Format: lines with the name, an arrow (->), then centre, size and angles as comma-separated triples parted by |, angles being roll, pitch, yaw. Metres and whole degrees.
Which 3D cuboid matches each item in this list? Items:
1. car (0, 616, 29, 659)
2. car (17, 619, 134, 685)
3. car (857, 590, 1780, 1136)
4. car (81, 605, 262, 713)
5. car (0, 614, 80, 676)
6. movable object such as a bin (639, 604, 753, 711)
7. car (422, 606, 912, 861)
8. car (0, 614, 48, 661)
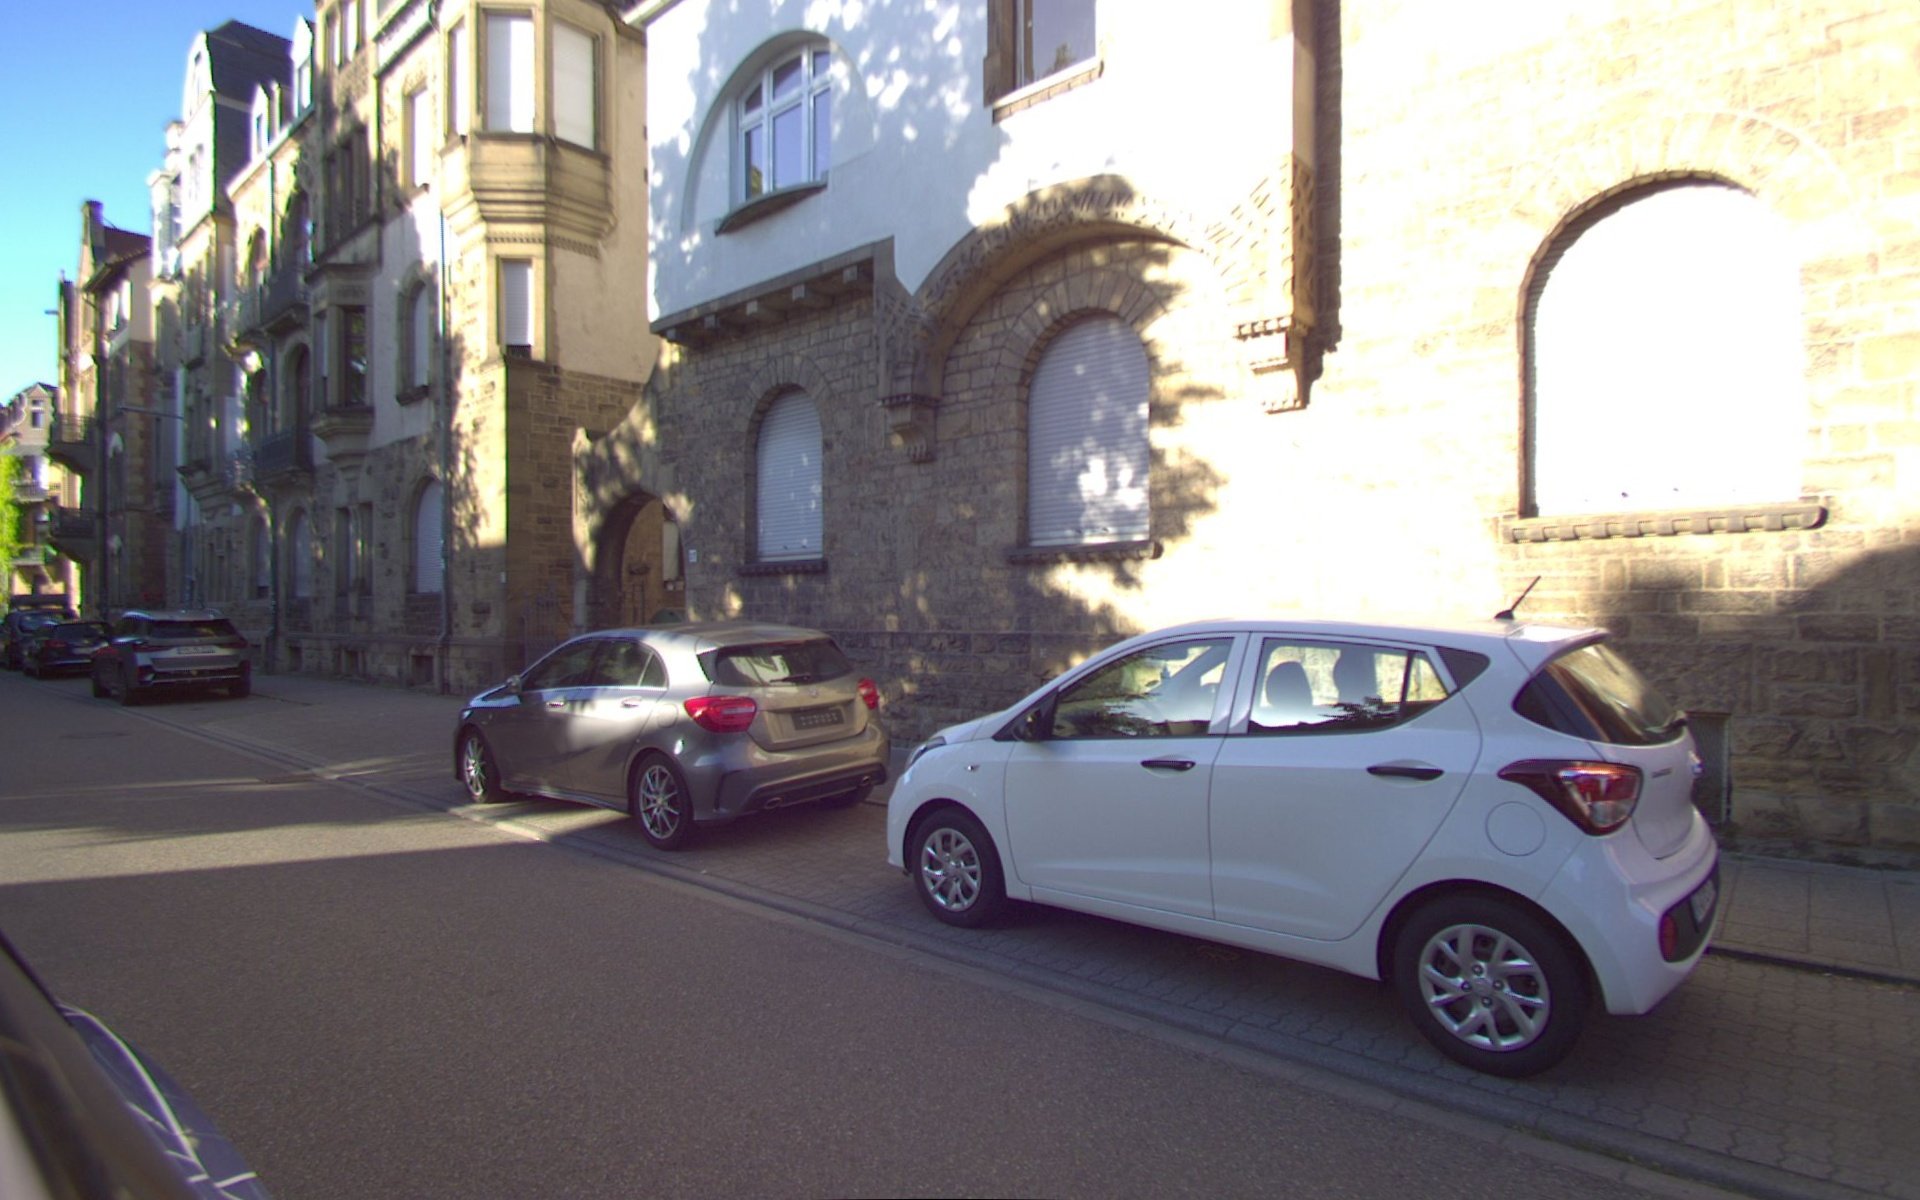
car -> -36.554, 1.461, 38.269 | 3.854, 1.516, 1.612 | -3, 1, 42
car -> -23.265, 1.293, 26.571 | 4.210, 1.512, 1.751 | 1, 0, 41
car -> 1.314, 0.745, 4.565 | 3.591, 1.481, 1.549 | -2, 0, 43
car -> -14.642, 1.006, 18.717 | 4.337, 1.730, 1.856 | -1, 0, 41
car -> -28.299, 1.309, 30.771 | 4.210, 1.680, 1.751 | 0, 0, 41
movable object such as a bin -> -3.946, 0.819, 15.127 | 1.173, 1.489, 1.181 | 0, 1, 41
car -> -2.455, 0.827, 7.903 | 4.108, 1.453, 1.660 | -2, 0, 40
car -> -32.386, 1.306, 34.422 | 3.854, 1.458, 1.612 | -3, 1, 42
